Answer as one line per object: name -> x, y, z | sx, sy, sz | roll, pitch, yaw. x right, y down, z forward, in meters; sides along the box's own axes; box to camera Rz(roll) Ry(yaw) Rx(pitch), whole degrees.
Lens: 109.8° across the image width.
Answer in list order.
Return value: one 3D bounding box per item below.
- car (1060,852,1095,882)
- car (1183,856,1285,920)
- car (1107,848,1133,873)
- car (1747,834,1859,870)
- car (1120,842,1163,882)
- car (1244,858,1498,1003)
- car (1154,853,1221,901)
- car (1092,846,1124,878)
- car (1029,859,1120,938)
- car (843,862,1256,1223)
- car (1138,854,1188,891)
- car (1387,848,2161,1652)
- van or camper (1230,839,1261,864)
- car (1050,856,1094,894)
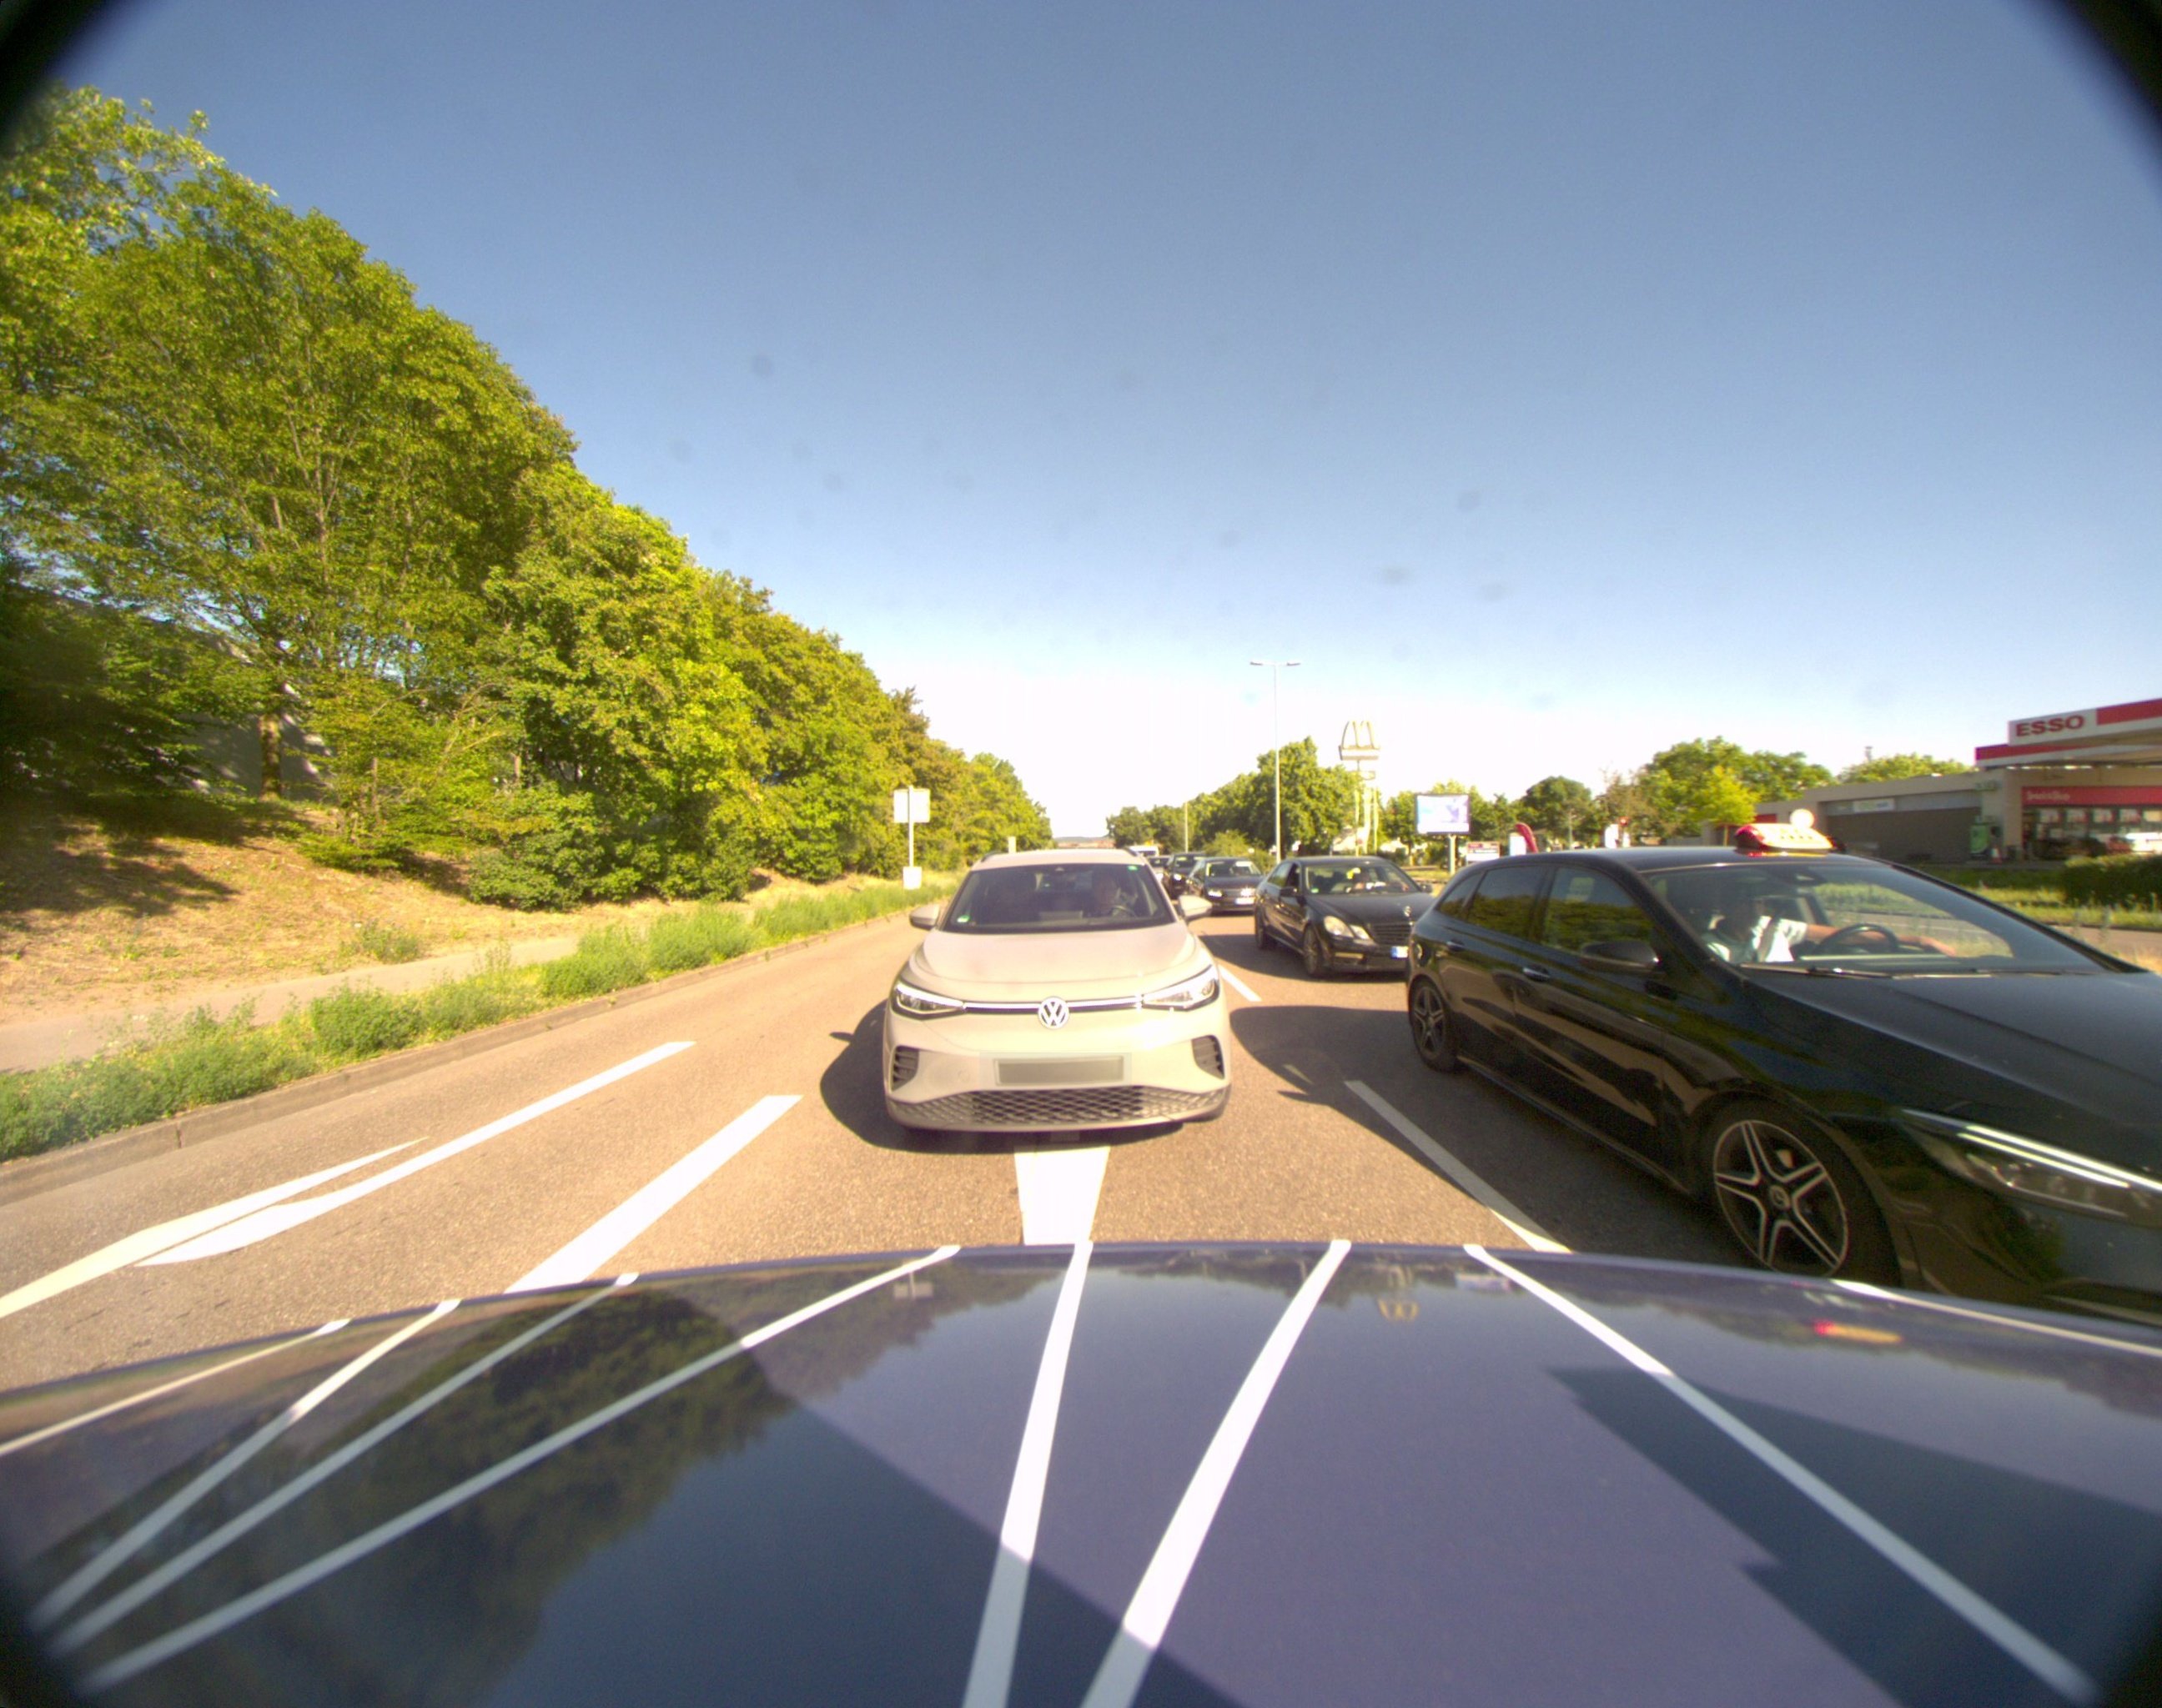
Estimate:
car -> -0.133, 0.674, 40.957 | 1.765, 1.503, 3.760 | -1, 0, 1
car -> 3.945, 0.825, 20.262 | 1.862, 1.472, 4.403 | -1, 0, 1
car -> 3.662, 0.580, 72.481 | 2.289, 2.274, 5.381 | -1, 0, 1
car -> 37.709, -0.101, 39.838 | 1.998, 1.759, 4.118 | -2, 0, 2
car -> 3.659, 0.440, 46.810 | 2.289, 2.274, 5.381 | -1, 0, 1
car -> 3.633, 0.848, 10.496 | 1.862, 1.515, 4.403 | -1, 0, 1
car -> 3.814, 0.774, 27.797 | 1.862, 1.578, 4.403 | -1, 0, 1
car -> 2.050, 0.604, 59.114 | 2.289, 2.274, 5.381 | -1, 0, 1
car -> -0.112, 0.896, 16.970 | 1.765, 1.503, 3.760 | -2, 0, 1
car -> -0.120, 0.897, 5.489 | 1.871, 1.588, 3.932 | -2, 0, 1
car -> 3.673, 0.797, 34.737 | 1.862, 1.578, 4.403 | -1, 0, 1
car -> 3.153, 0.807, 3.594 | 1.804, 1.616, 4.188 | -1, 0, 2
van or camper -> 18.047, -0.260, 83.499 | 2.183, 2.557, 6.755 | -1, 0, 3
car -> -0.344, 0.884, 33.244 | 1.765, 1.503, 3.760 | -2, 0, 1
